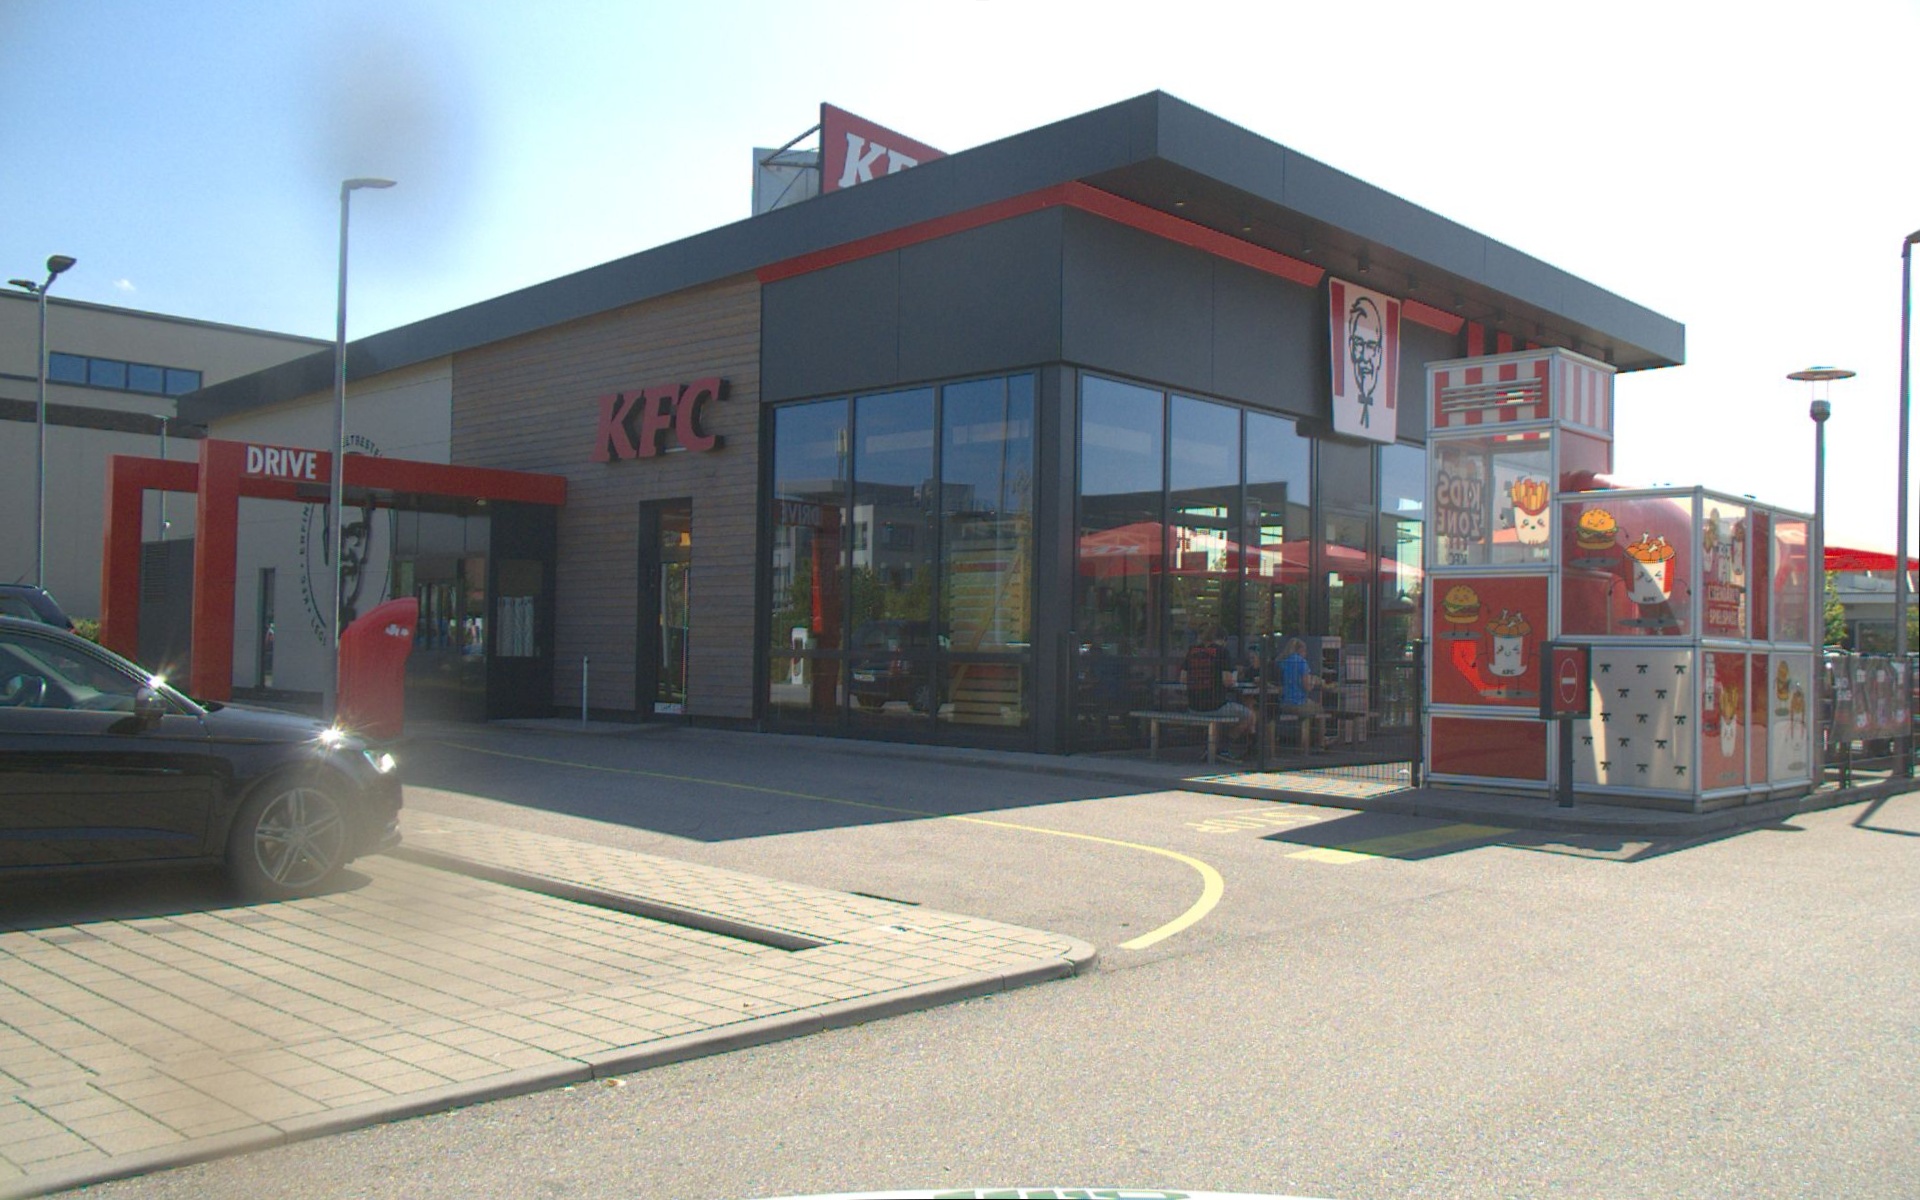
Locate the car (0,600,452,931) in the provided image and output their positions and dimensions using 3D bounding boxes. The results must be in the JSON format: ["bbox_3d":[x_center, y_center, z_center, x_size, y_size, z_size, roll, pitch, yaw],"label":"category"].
[{"bbox_3d":[-4.789,0.735,8.001,1.668,1.466,4.188,0,-2,42],"label":"car"}]

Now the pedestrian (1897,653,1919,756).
[{"bbox_3d":[12.324,1.325,21.032,0.581,1.292,0.686,1,-2,17],"label":"pedestrian"}]

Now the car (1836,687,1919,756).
[{"bbox_3d":[22.295,2.815,38.975,3.718,1.479,1.663,2,-2,-40],"label":"car"}]

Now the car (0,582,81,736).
[{"bbox_3d":[-12.102,0.611,17.815,1.610,1.715,4.364,0,-2,38],"label":"car"}]

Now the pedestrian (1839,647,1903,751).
[{"bbox_3d":[11.684,1.256,21.220,0.581,1.292,0.686,1,-2,17],"label":"pedestrian"}]

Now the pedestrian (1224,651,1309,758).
[{"bbox_3d":[3.290,1.105,17.750,0.617,1.090,0.714,0,-1,40],"label":"pedestrian"}]

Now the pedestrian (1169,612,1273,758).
[{"bbox_3d":[2.709,0.862,17.163,0.758,1.460,0.795,0,-1,40],"label":"pedestrian"}]
